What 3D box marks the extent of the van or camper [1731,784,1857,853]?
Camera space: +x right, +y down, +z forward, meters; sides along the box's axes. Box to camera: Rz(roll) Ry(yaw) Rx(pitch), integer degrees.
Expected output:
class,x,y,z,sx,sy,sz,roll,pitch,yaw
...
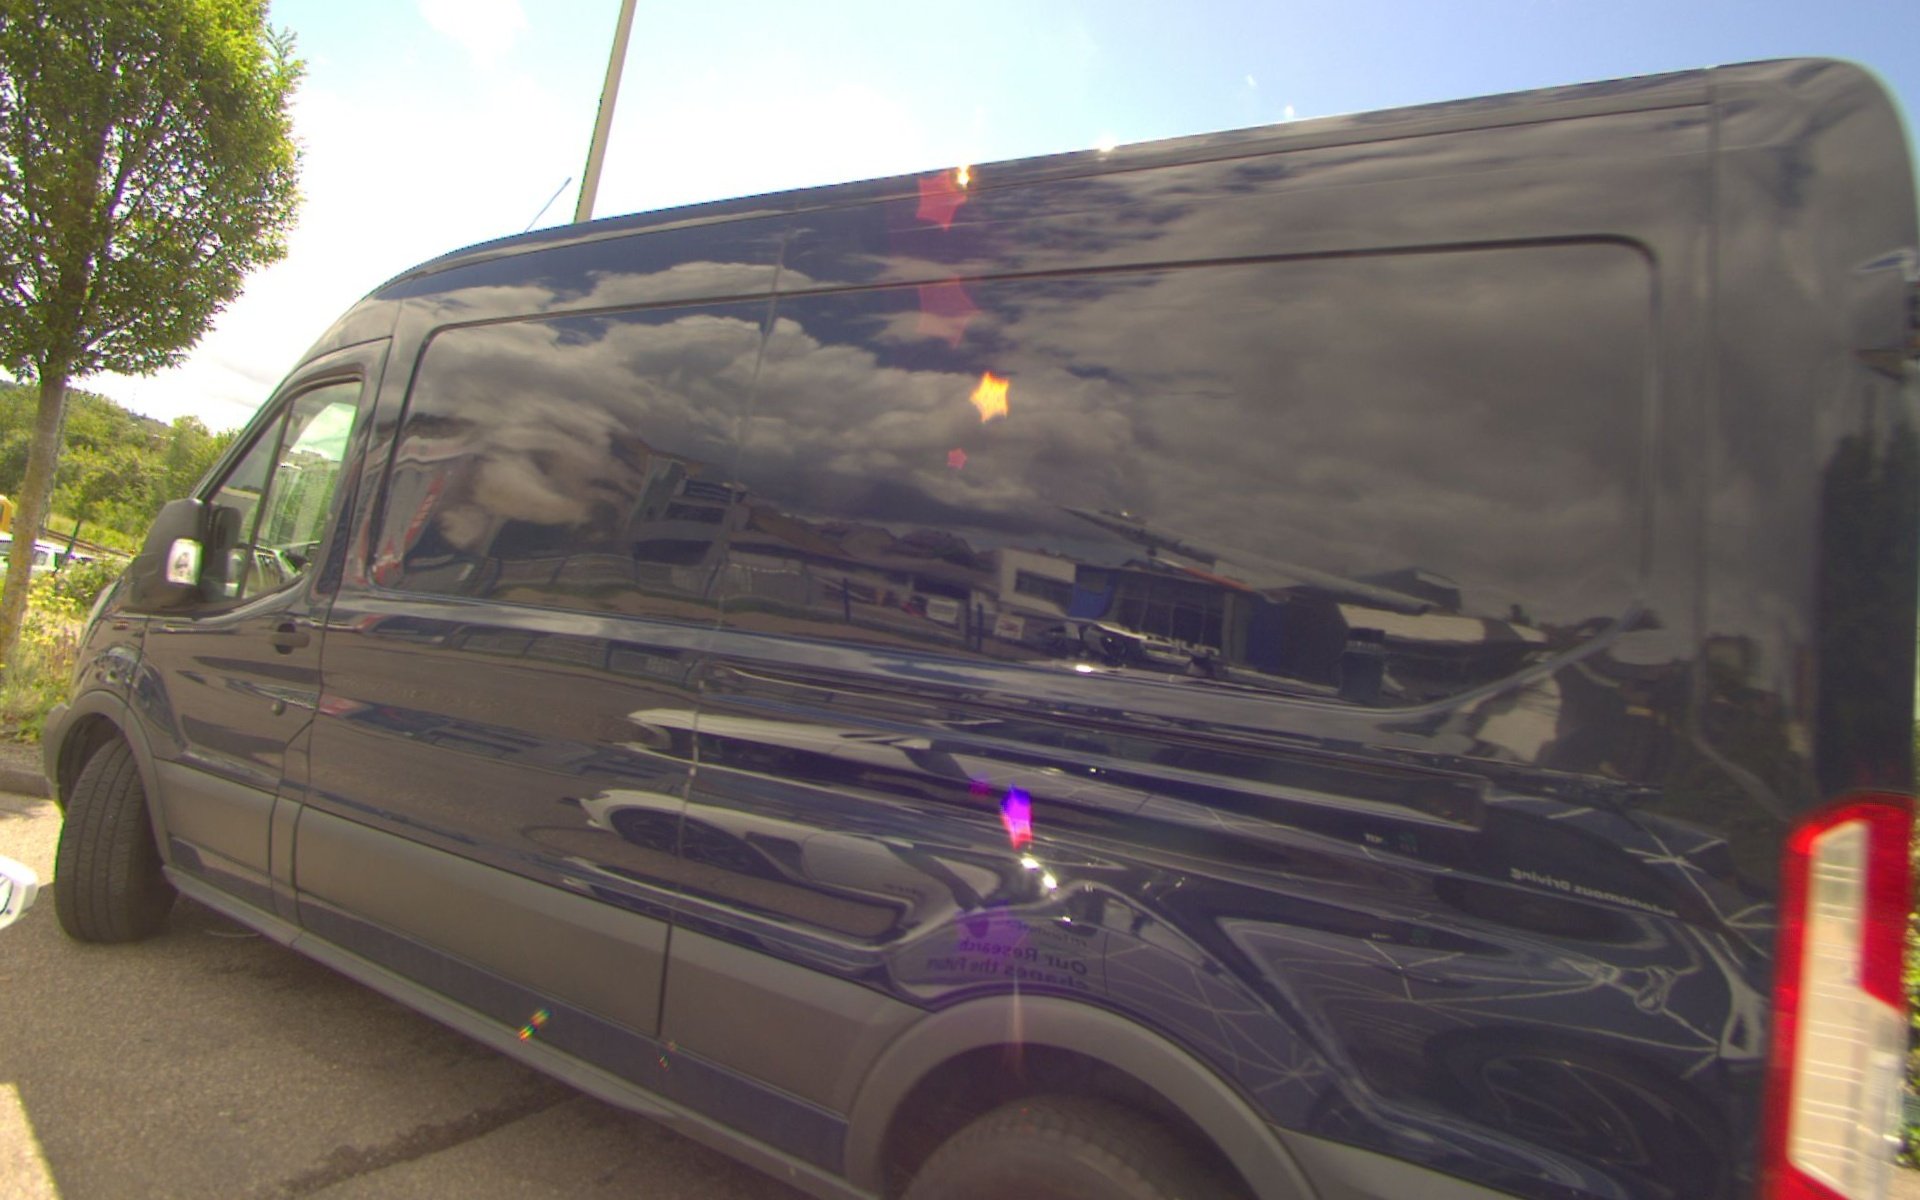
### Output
class,x,y,z,sx,sy,sz,roll,pitch,yaw
van or camper,47.235,12.361,57.149,5.226,2.719,1.925,7,-4,39

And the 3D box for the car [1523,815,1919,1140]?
class,x,y,z,sx,sy,sz,roll,pitch,yaw
car,6.800,2.907,7.423,4.452,1.526,1.711,8,-3,30

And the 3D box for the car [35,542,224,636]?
class,x,y,z,sx,sy,sz,roll,pitch,yaw
car,-19.044,-0.262,23.035,4.365,1.524,1.797,8,0,30

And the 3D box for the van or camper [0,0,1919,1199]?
class,x,y,z,sx,sy,sz,roll,pitch,yaw
van or camper,-0.753,0.196,3.371,5.817,2.614,2.130,8,-2,31

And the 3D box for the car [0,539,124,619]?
class,x,y,z,sx,sy,sz,roll,pitch,yaw
car,-22.730,-0.551,25.115,3.517,1.524,1.623,8,0,30
